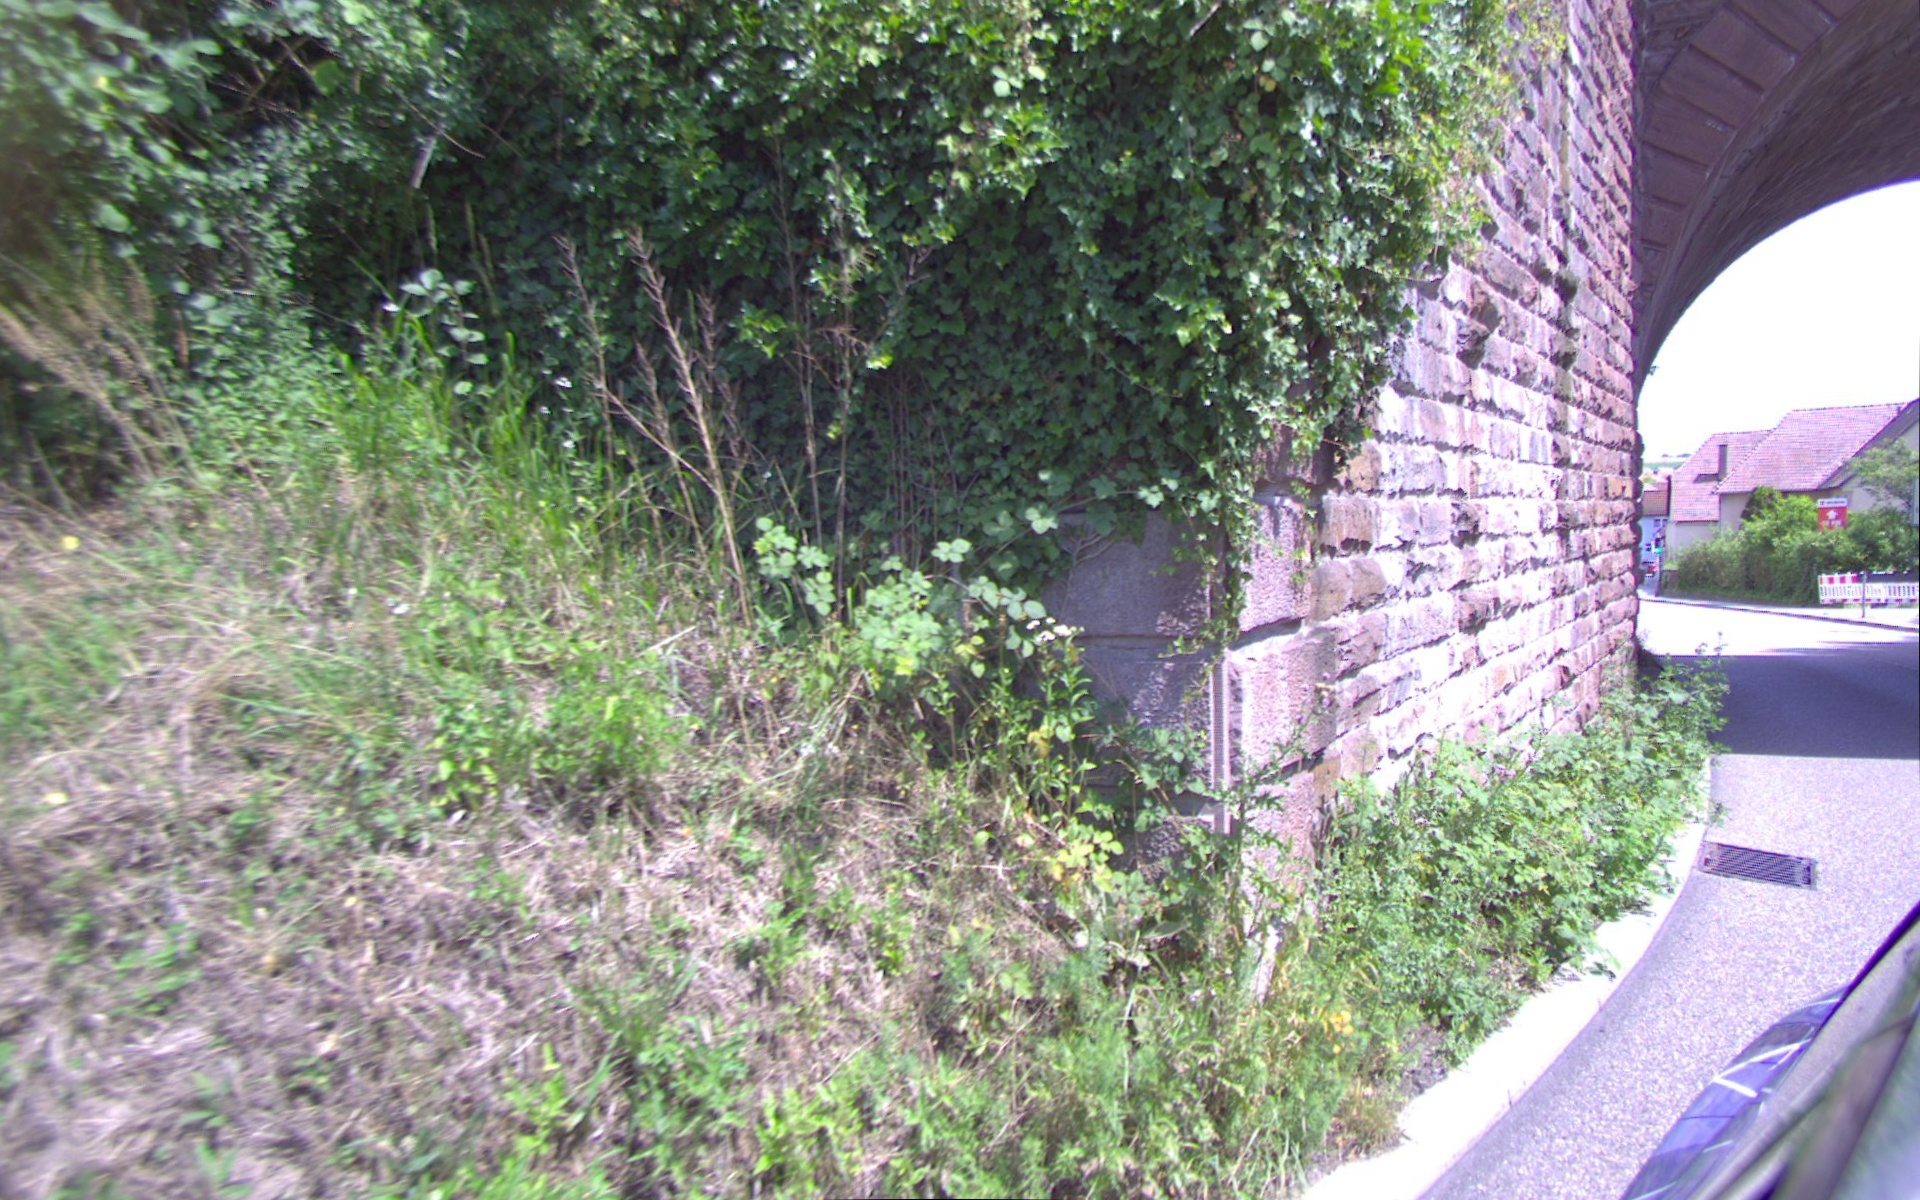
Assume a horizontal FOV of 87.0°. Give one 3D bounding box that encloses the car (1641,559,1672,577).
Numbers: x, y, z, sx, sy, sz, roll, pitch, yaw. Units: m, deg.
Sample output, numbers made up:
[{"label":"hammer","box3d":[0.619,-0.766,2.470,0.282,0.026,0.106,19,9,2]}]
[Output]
[{"label":"car","box3d":[66.324,-3.052,96.374,1.825,1.672,3.937,0,1,44]}]
